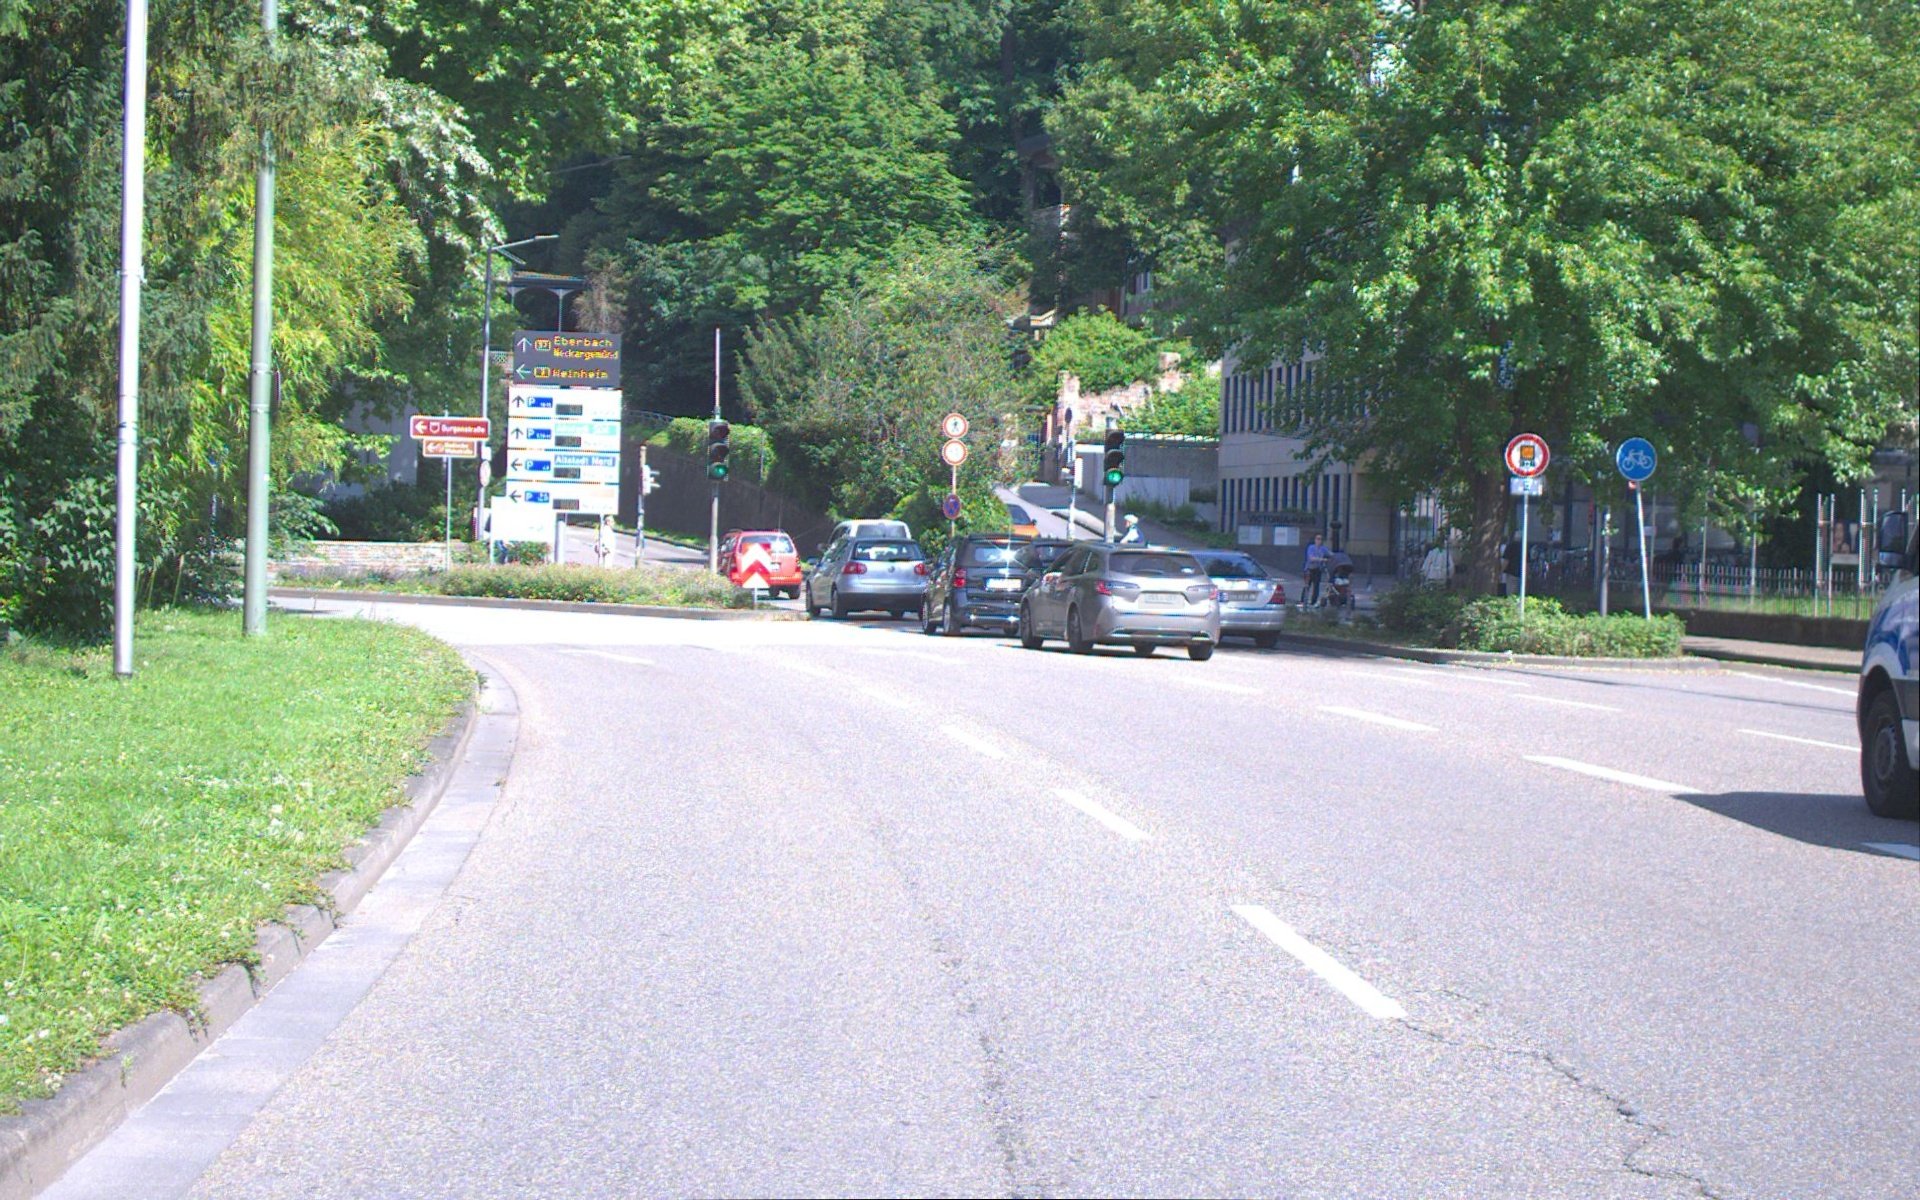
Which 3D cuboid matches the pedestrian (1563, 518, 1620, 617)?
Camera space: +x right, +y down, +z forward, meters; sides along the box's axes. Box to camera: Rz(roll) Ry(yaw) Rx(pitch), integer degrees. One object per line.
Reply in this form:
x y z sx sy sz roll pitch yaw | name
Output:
12.027 -0.626 65.493 0.771 1.848 0.830 2 1 -10 | pedestrian

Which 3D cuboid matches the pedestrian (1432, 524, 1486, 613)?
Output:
9.602 -0.610 66.156 0.771 1.657 0.830 2 1 -7 | pedestrian

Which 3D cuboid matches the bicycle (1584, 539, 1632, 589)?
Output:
14.686 -0.823 77.953 0.537 1.081 1.835 1 2 -7 | bicycle

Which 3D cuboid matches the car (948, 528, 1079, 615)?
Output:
0.951 -0.544 62.954 1.755 1.456 3.647 2 1 -9 | car

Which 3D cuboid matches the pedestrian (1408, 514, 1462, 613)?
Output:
9.034 -0.707 65.424 0.771 1.848 0.829 2 1 -6 | pedestrian

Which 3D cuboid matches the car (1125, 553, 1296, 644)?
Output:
3.692 -0.045 51.216 1.755 1.209 3.495 2 1 -9 | car

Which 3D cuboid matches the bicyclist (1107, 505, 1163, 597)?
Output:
3.746 -1.044 73.540 1.126 1.926 0.748 2 1 4 | bicyclist

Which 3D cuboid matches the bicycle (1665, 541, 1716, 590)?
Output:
16.578 -0.790 78.079 0.537 1.081 1.835 1 2 -7 | bicycle

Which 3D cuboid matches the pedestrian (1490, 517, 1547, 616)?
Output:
10.592 -0.644 65.258 0.771 1.848 0.830 2 1 -10 | pedestrian

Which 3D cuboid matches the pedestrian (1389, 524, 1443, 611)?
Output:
8.827 -0.635 66.582 0.771 1.657 0.830 2 1 -8 | pedestrian

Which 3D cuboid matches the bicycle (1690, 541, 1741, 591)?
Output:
17.170 -0.780 78.169 0.537 1.081 1.835 1 2 -7 | bicycle

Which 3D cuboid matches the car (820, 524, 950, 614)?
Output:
-1.350 -0.564 60.229 1.755 1.456 3.647 2 1 -9 | car

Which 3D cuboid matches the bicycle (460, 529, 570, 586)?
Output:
-9.133 -0.874 70.570 2.078 1.109 0.756 2 1 16 | bicycle

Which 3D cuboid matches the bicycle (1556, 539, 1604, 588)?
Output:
14.046 -0.834 77.888 0.537 1.081 1.835 1 2 -7 | bicycle

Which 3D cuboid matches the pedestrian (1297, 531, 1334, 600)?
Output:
7.577 -0.729 73.242 0.489 1.453 0.734 1 1 -21 | pedestrian

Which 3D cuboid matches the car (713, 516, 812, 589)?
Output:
-4.288 -1.040 74.167 1.755 1.456 3.495 2 1 -9 | car

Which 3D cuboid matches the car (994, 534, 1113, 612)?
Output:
1.873 -0.568 69.596 1.755 1.456 3.495 2 1 -9 | car

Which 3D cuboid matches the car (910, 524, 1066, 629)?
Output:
0.386 -0.380 51.981 1.755 1.456 3.495 2 1 -9 | car

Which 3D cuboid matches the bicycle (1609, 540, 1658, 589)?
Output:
15.277 -0.814 78.028 0.537 1.081 1.835 1 2 -7 | bicycle

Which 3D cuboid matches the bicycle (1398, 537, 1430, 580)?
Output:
10.951 -1.013 82.941 0.405 1.009 1.341 1 2 -8 | bicycle

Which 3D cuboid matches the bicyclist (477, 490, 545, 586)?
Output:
-9.209 -1.279 70.580 1.127 1.926 0.747 2 1 17 | bicyclist

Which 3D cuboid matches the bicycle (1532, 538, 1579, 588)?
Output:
13.484 -0.845 77.869 0.537 1.081 1.835 1 2 -7 | bicycle

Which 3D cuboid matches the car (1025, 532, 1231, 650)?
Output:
2.070 -0.144 43.443 1.755 1.329 3.803 2 1 -10 | car

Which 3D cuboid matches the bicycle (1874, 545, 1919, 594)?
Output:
21.493 -0.705 78.484 0.537 1.081 1.835 1 2 -7 | bicycle

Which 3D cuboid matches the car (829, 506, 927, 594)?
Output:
-1.917 -1.174 79.264 1.755 1.931 3.495 2 1 -9 | car

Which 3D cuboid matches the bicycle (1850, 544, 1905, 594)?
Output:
20.908 -0.714 78.376 0.537 1.081 1.835 1 2 -7 | bicycle

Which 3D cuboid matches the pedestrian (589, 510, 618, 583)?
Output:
-7.920 -1.194 76.341 0.547 1.615 0.634 1 2 1 | pedestrian

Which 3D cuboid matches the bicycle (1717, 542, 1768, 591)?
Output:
17.811 -0.770 78.262 0.537 1.081 1.835 1 2 -7 | bicycle

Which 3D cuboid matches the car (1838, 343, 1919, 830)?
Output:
5.968 -0.026 16.651 2.073 2.500 4.929 2 1 0 | car

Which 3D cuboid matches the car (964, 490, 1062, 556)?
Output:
1.386 -2.051 91.551 1.931 1.691 4.001 1 1 -9 | car
